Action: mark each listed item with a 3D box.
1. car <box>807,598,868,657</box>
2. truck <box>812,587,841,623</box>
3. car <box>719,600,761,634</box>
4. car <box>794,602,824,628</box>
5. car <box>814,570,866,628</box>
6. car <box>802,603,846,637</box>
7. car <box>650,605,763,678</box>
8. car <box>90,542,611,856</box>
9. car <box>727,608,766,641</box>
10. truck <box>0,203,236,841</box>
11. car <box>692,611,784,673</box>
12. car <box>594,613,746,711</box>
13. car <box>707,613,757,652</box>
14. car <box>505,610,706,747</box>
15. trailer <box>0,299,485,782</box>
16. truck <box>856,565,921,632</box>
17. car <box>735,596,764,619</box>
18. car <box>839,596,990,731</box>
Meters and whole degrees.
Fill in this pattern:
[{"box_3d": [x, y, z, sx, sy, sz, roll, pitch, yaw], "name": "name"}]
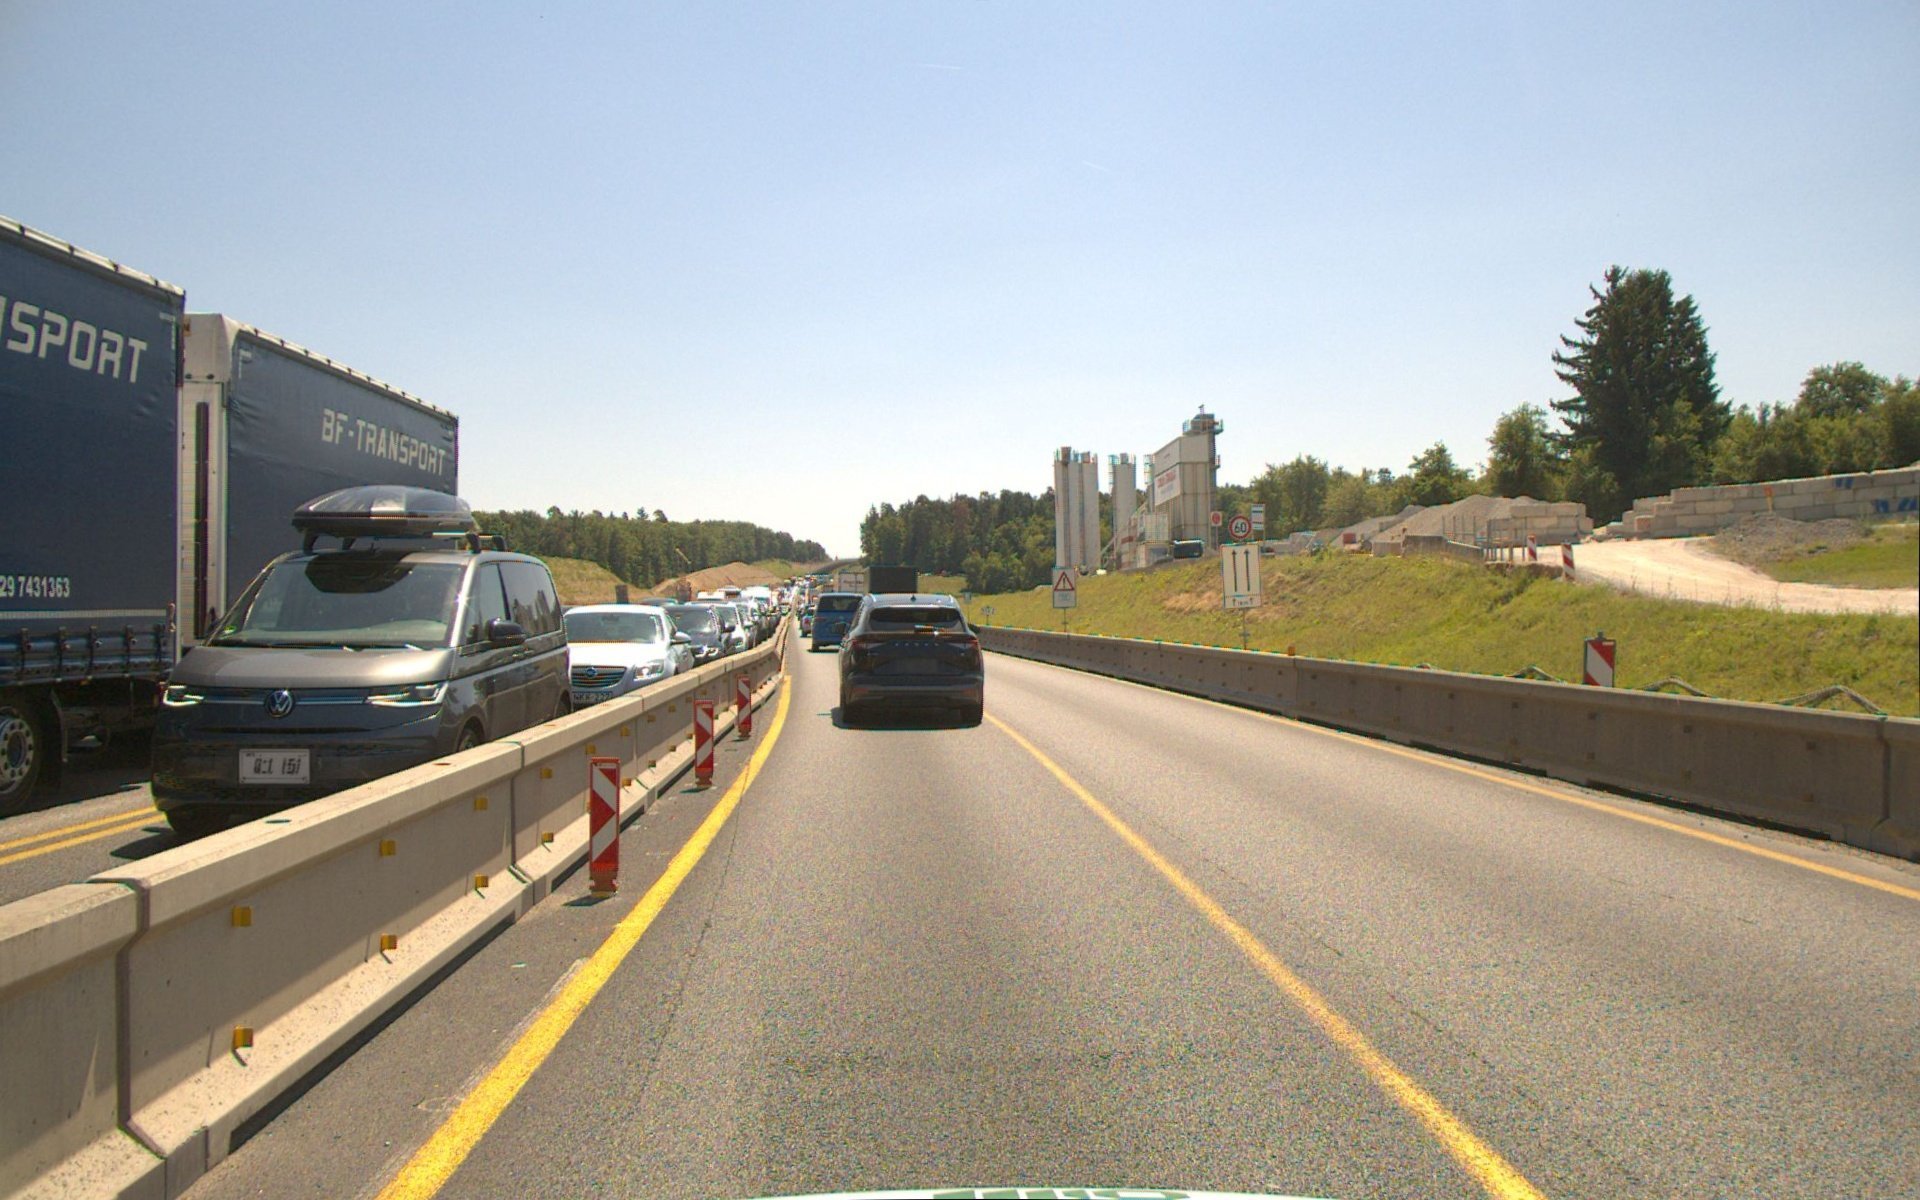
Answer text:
[{"box_3d": [-4.124, 0.868, 55.208, 1.955, 1.876, 3.996, 0, 0, -5], "name": "car"}, {"box_3d": [-16.233, 0.604, 201.853, 3.407, 4.294, 10.367, 0, 0, -4], "name": "truck"}, {"box_3d": [-8.939, 0.686, 67.457, 1.586, 1.347, 3.690, -1, 0, -6], "name": "car"}, {"box_3d": [-9.894, 0.945, 108.383, 1.785, 1.673, 3.863, 0, 0, -3], "name": "car"}, {"box_3d": [-9.288, -0.098, 126.957, 3.371, 4.172, 9.182, 2, 0, -7], "name": "car"}, {"box_3d": [-6.686, 0.956, 80.903, 2.006, 1.553, 5.059, -2, 0, -6], "name": "car"}, {"box_3d": [-5.790, 0.899, 38.344, 2.004, 1.553, 5.064, -1, 0, -2], "name": "car"}, {"box_3d": [-4.099, 0.579, 12.206, 2.004, 1.808, 5.065, -1, 0, -1], "name": "car"}, {"box_3d": [-9.308, 1.050, 72.285, 1.586, 1.347, 3.690, -1, 0, -6], "name": "car"}, {"box_3d": [-7.677, -0.507, 9.017, 2.716, 4.210, 10.869, -1, 0, 0], "name": "truck"}, {"box_3d": [-6.017, 1.109, 45.433, 2.004, 1.553, 5.064, -1, 0, -2], "name": "car"}, {"box_3d": [-5.120, 1.046, 29.842, 2.004, 1.553, 5.064, -1, 0, -2], "name": "car"}, {"box_3d": [-7.831, 1.094, 57.062, 1.586, 1.252, 3.690, -1, 0, -6], "name": "car"}, {"box_3d": [-4.372, 0.907, 21.011, 1.954, 1.557, 4.055, 0, 0, -4], "name": "car"}, {"box_3d": [-7.787, -0.520, 18.564, 2.681, 4.210, 8.183, -1, 0, -1], "name": "trailer"}, {"box_3d": [-3.458, -0.049, 78.625, 2.622, 2.997, 5.612, -2, 0, -6], "name": "truck"}, {"box_3d": [-12.623, 0.431, 99.307, 1.586, 1.347, 3.690, -1, 0, -6], "name": "car"}, {"box_3d": [-0.697, 0.770, 21.988, 1.806, 1.609, 3.996, -1, 0, -4], "name": "car"}]
